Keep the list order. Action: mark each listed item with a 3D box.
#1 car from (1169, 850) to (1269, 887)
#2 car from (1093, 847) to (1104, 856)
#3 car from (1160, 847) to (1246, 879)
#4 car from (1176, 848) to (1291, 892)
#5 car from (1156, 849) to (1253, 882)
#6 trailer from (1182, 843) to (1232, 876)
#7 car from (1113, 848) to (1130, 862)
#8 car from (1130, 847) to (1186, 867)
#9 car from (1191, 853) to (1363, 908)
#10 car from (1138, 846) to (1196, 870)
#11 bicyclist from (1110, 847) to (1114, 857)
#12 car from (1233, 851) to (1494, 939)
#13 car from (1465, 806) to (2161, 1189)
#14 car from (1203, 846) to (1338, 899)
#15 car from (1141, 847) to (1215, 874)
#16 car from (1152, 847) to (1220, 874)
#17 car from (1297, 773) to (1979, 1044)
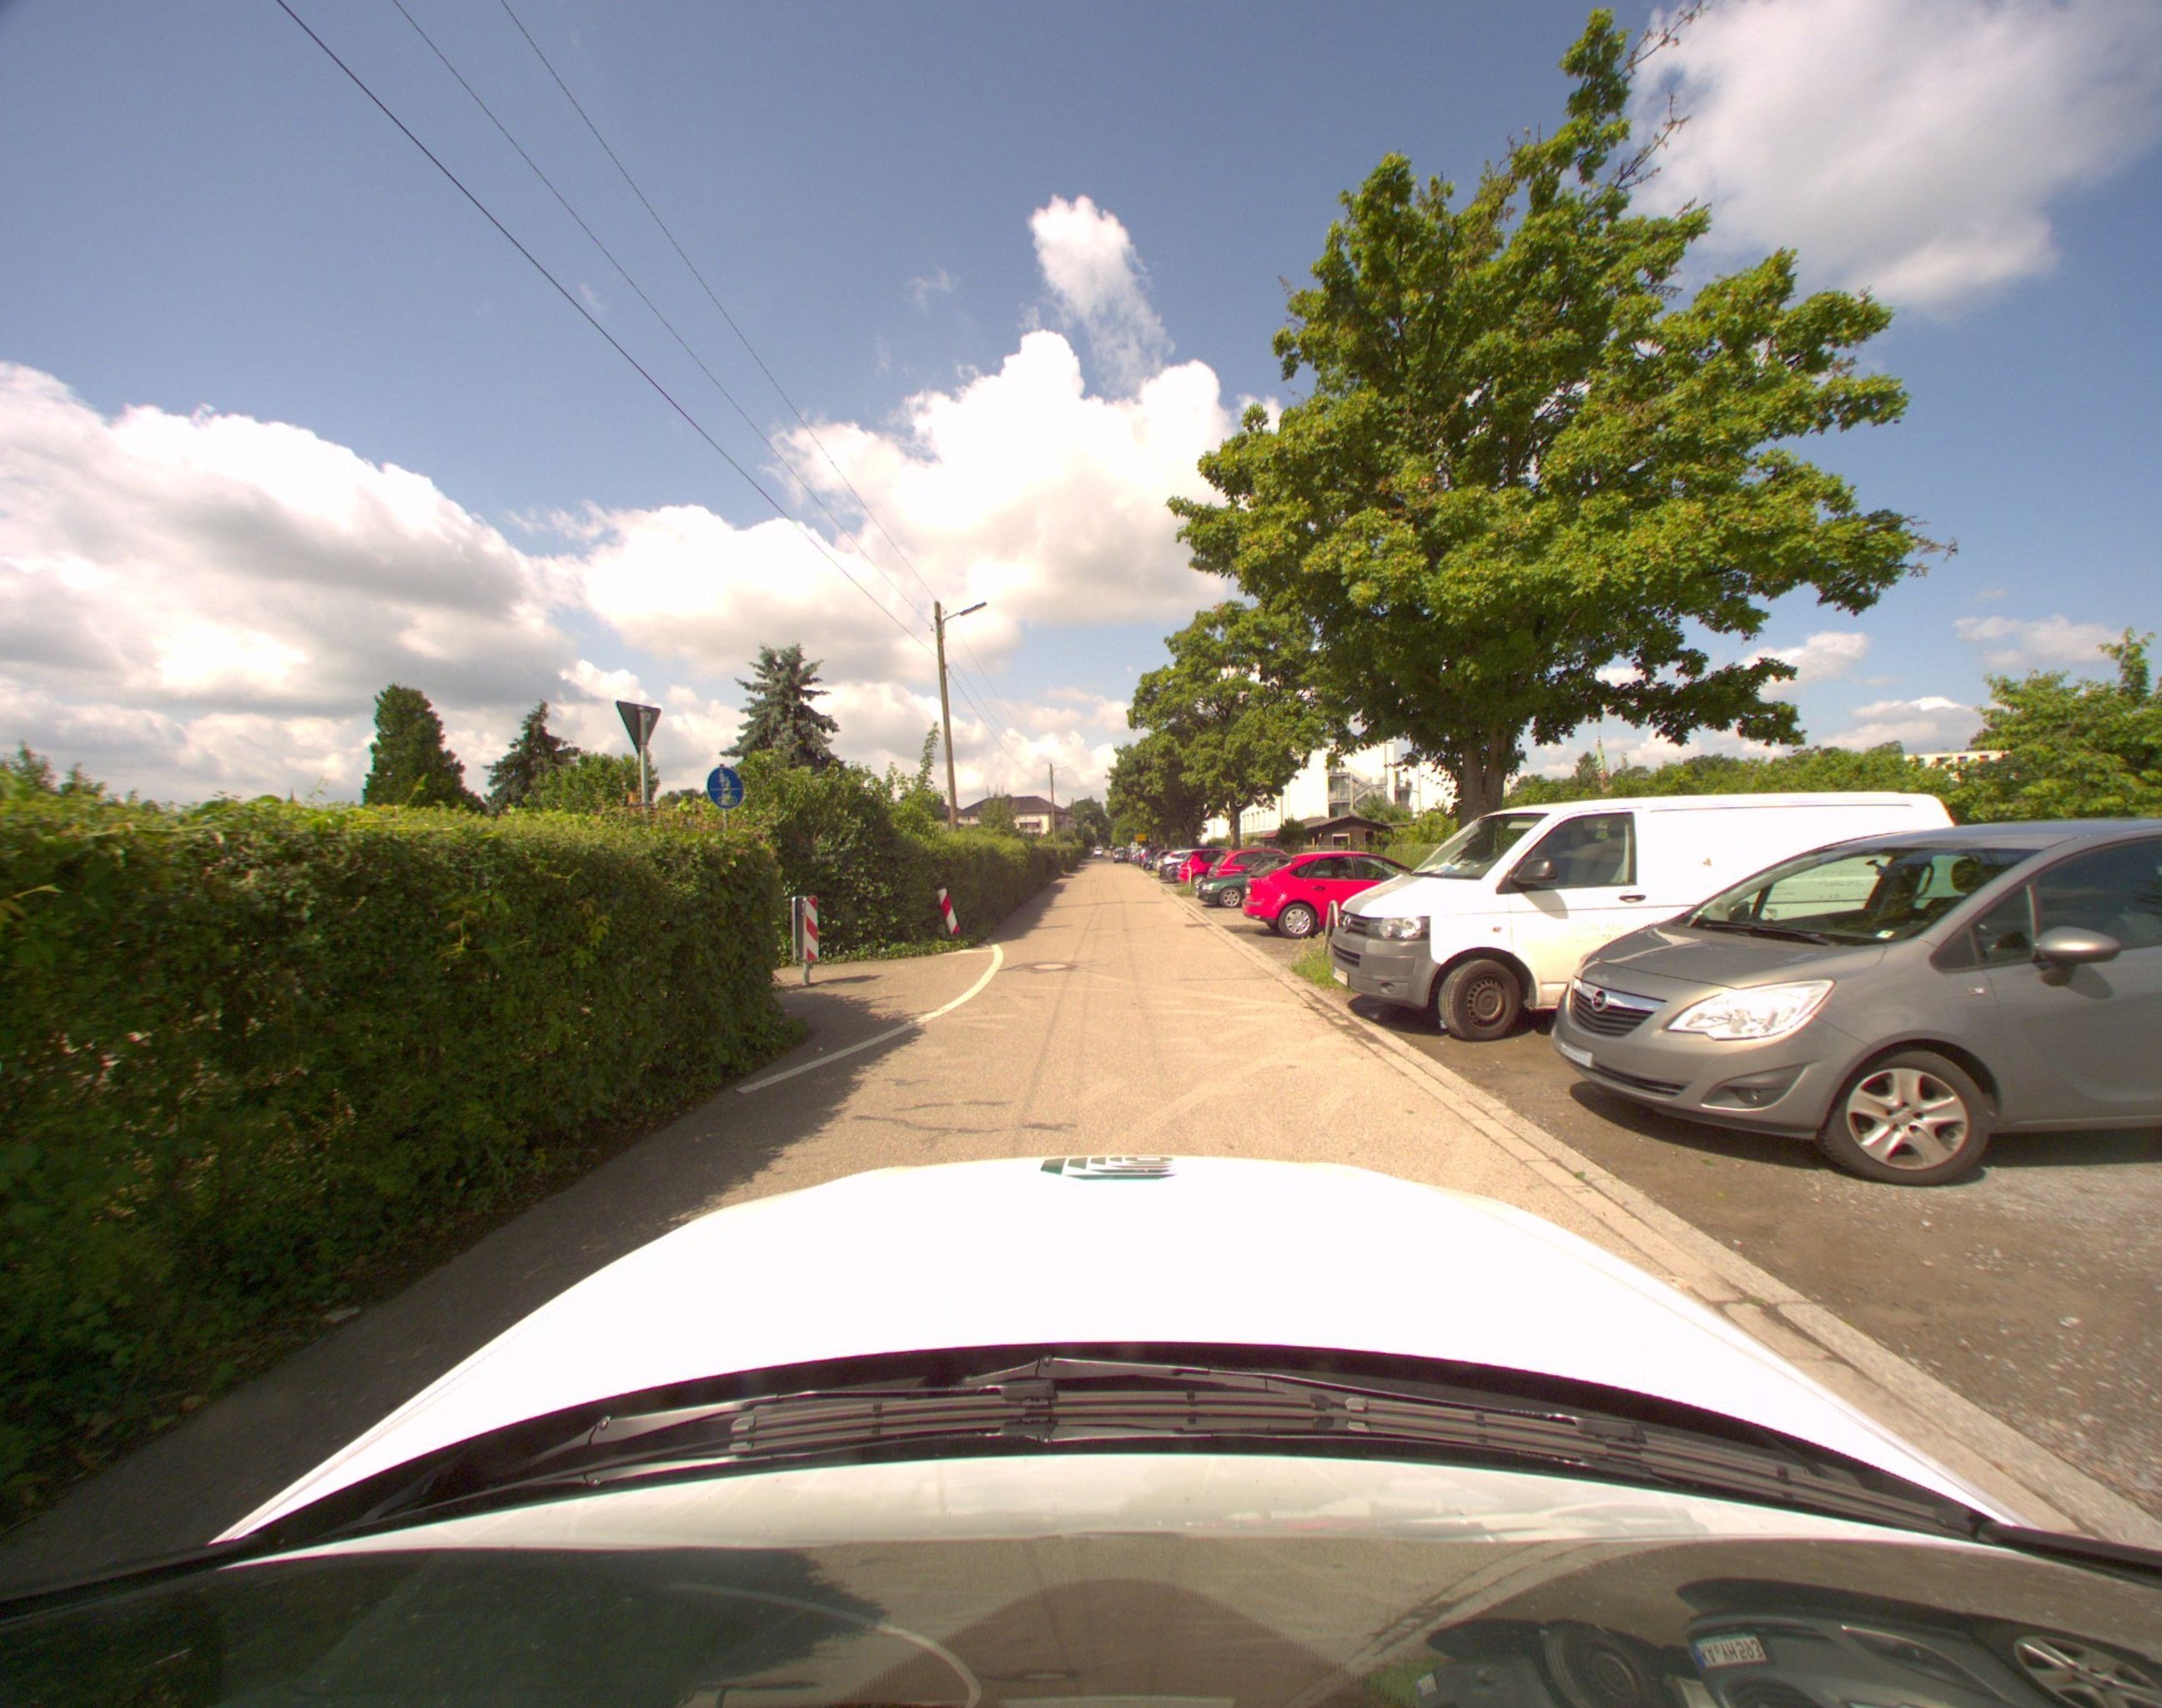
[{"bbox_3d":[5.542,0.573,33.173,3.892,1.423,1.960,0,0,4],"label":"car"},{"bbox_3d":[3.520,-0.440,160.232,1.894,1.814,4.005,0,0,4],"label":"car"},{"bbox_3d":[5.912,0.434,39.944,4.046,1.511,1.960,0,0,4],"label":"car"},{"bbox_3d":[5.484,0.564,29.658,3.968,1.519,1.857,0,0,5],"label":"car"},{"bbox_3d":[5.439,0.508,36.345,4.053,1.455,1.869,0,0,-1],"label":"car"},{"bbox_3d":[6.806,0.297,44.122,2.443,1.720,1.517,0,1,-2],"label":"trailer"},{"bbox_3d":[4.596,0.130,91.616,1.655,1.506,4.007,0,0,7],"label":"car"},{"bbox_3d":[6.291,0.247,66.860,4.533,1.578,1.809,0,0,0],"label":"car"},{"bbox_3d":[5.231,0.684,22.133,4.228,1.428,1.907,0,0,-3],"label":"car"},{"bbox_3d":[6.316,0.279,60.260,4.139,1.637,1.879,-2,0,1],"label":"car"},{"bbox_3d":[5.862,-0.447,152.972,0.656,1.852,1.044,-3,0,4],"label":"bicyclist"},{"bbox_3d":[5.012,0.705,14.911,4.166,1.504,1.879,0,0,2],"label":"car"},{"bbox_3d":[4.728,0.581,4.516,4.227,1.592,2.001,-2,0,2],"label":"car"},{"bbox_3d":[5.703,0.545,24.850,3.751,1.573,1.870,0,0,1],"label":"car"},{"bbox_3d":[5.856,0.389,49.616,4.287,1.594,2.000,0,0,1],"label":"car"},{"bbox_3d":[6.026,0.378,47.028,3.713,1.540,1.849,0,0,-2],"label":"car"},{"bbox_3d":[4.540,0.404,7.267,4.619,1.886,2.111,-2,0,0],"label":"car"}]
